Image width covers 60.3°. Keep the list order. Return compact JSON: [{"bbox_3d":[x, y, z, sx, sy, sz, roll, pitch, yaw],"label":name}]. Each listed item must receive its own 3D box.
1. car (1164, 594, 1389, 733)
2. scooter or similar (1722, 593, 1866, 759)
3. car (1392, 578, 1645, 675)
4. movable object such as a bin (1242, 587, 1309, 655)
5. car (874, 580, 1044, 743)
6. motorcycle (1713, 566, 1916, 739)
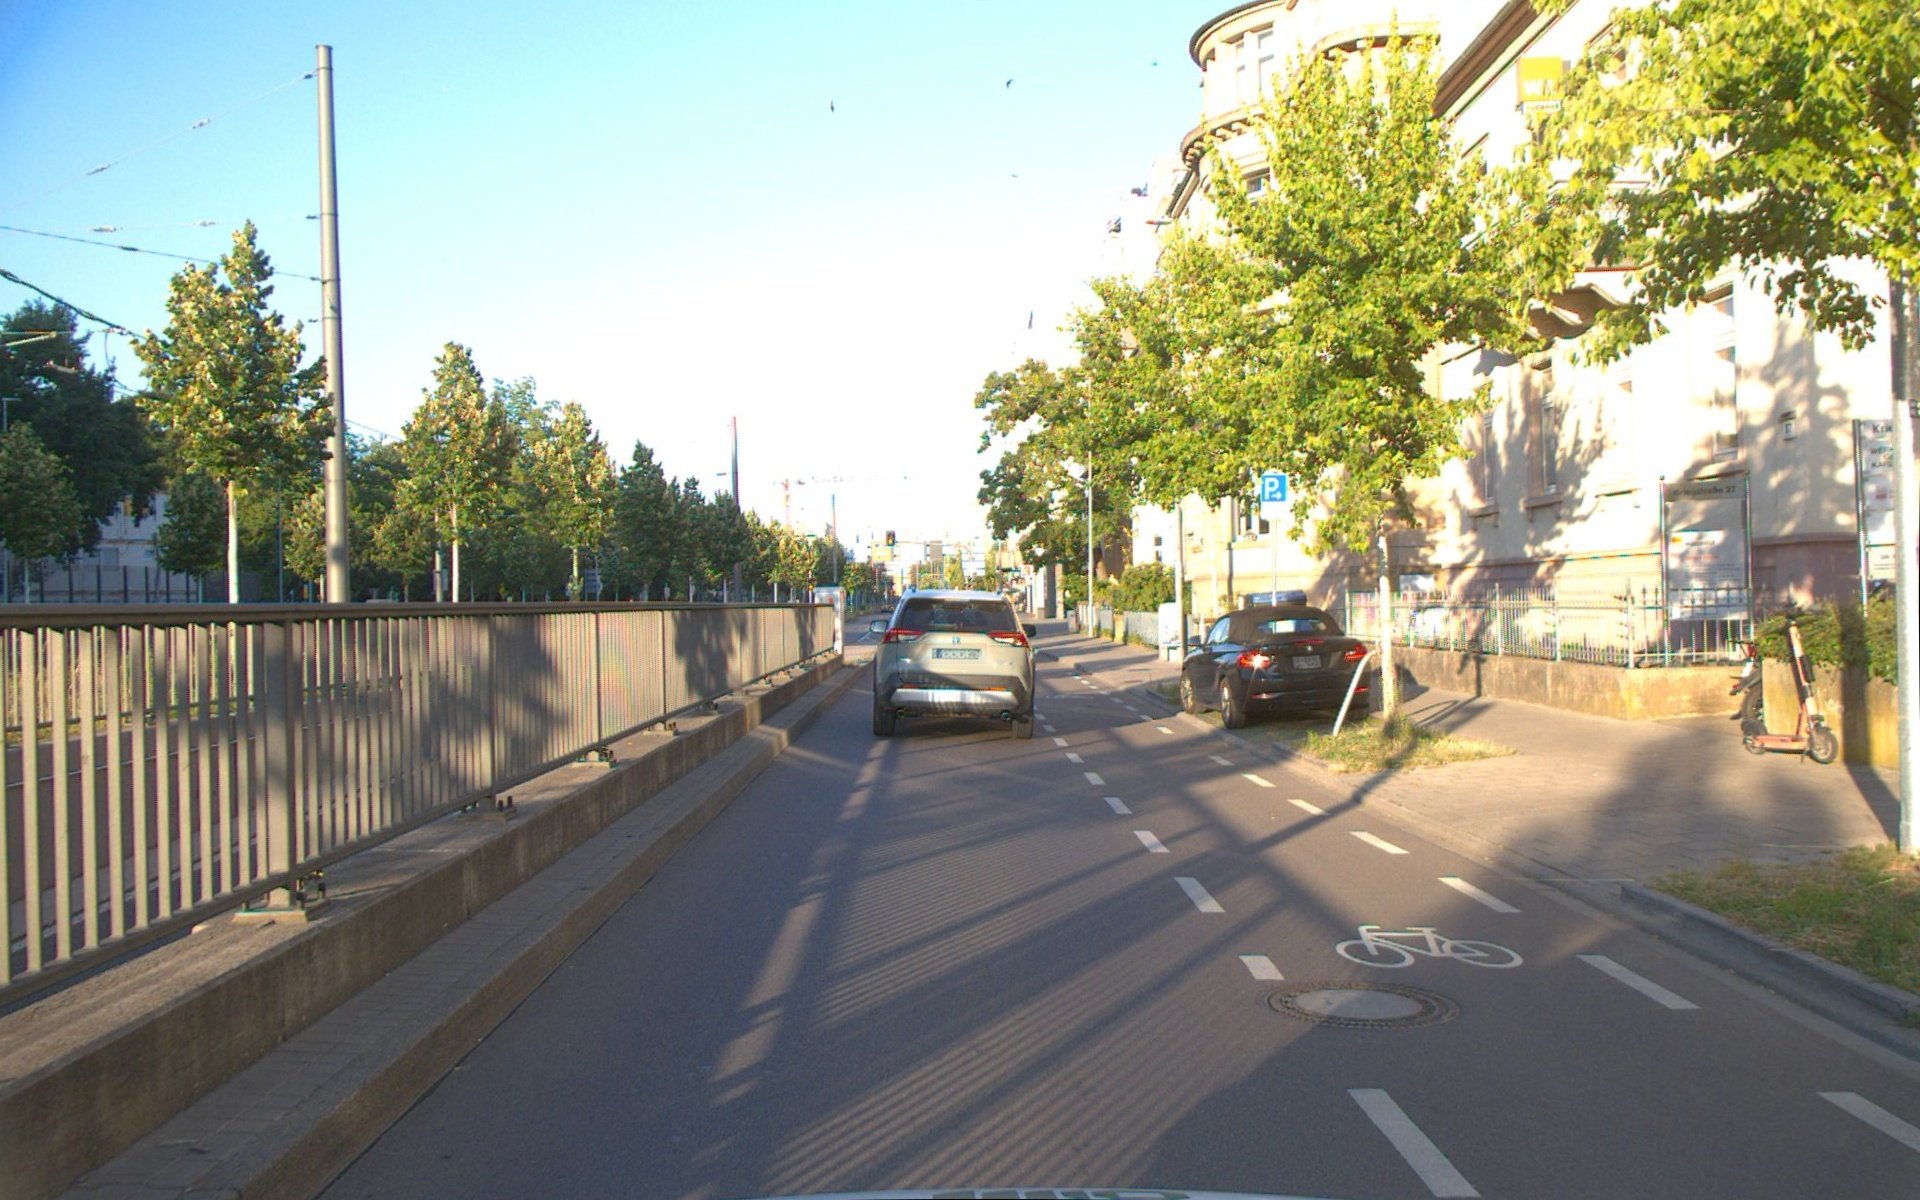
[{"bbox_3d":[3.971,0.738,21.539,1.757,1.496,4.442,-4,0,-3],"label":"car"},{"bbox_3d":[6.690,0.590,13.323,0.481,1.280,1.207,0,-1,-4],"label":"scooter or similar"},{"bbox_3d":[10.495,0.482,31.301,4.108,1.598,1.917,-2,0,2],"label":"car"},{"bbox_3d":[7.127,0.467,37.375,1.235,1.487,1.123,-1,0,-4],"label":"movable object such as a bin"},{"bbox_3d":[-0.096,0.676,19.971,1.820,1.744,4.190,1,0,-2],"label":"car"},{"bbox_3d":[7.618,0.450,14.774,1.467,1.437,0.626,-3,1,-5],"label":"motorcycle"}]
